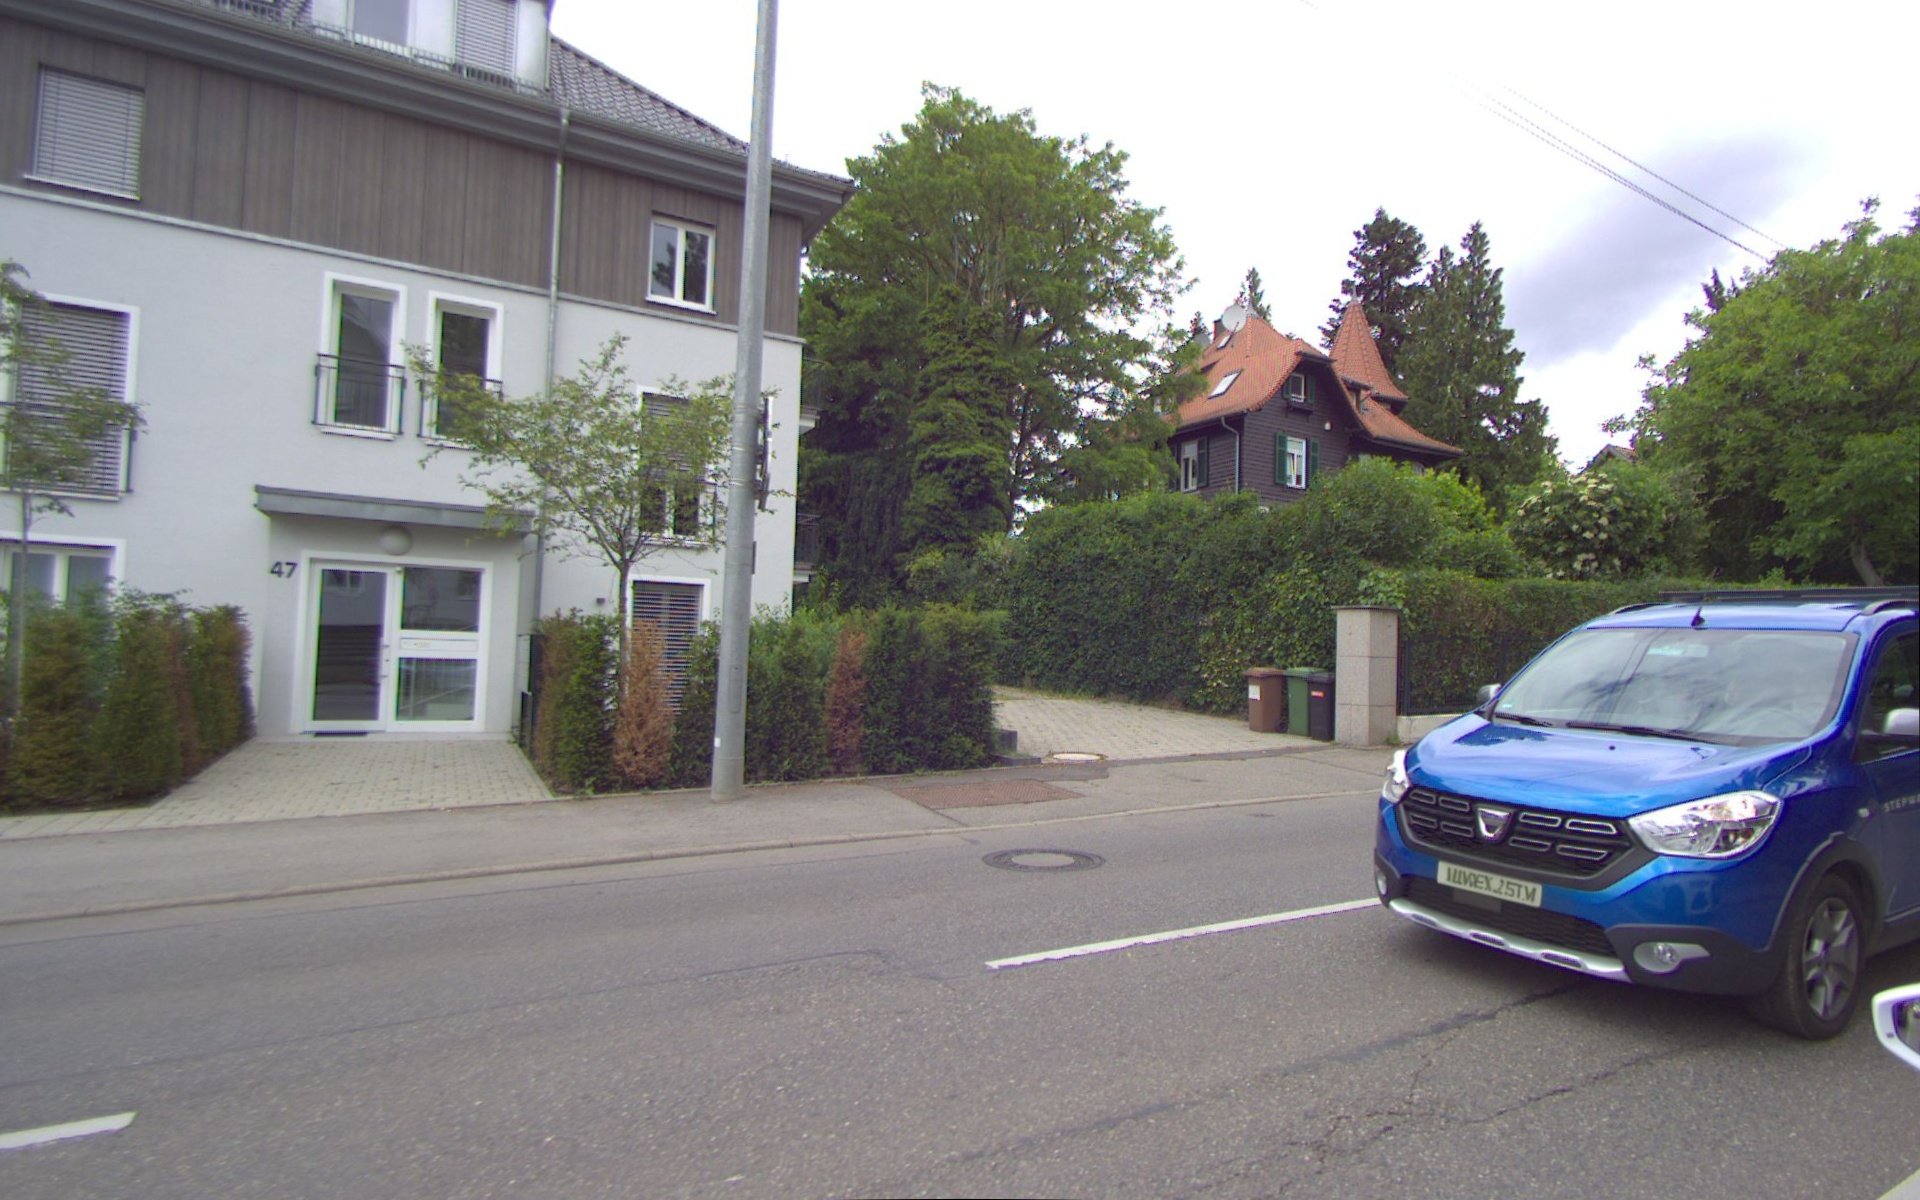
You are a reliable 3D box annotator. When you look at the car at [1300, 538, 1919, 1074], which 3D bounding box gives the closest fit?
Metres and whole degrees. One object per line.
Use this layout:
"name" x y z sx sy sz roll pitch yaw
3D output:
"car" 3.955 0.734 5.125 4.325 1.739 1.798 1 -2 -29
